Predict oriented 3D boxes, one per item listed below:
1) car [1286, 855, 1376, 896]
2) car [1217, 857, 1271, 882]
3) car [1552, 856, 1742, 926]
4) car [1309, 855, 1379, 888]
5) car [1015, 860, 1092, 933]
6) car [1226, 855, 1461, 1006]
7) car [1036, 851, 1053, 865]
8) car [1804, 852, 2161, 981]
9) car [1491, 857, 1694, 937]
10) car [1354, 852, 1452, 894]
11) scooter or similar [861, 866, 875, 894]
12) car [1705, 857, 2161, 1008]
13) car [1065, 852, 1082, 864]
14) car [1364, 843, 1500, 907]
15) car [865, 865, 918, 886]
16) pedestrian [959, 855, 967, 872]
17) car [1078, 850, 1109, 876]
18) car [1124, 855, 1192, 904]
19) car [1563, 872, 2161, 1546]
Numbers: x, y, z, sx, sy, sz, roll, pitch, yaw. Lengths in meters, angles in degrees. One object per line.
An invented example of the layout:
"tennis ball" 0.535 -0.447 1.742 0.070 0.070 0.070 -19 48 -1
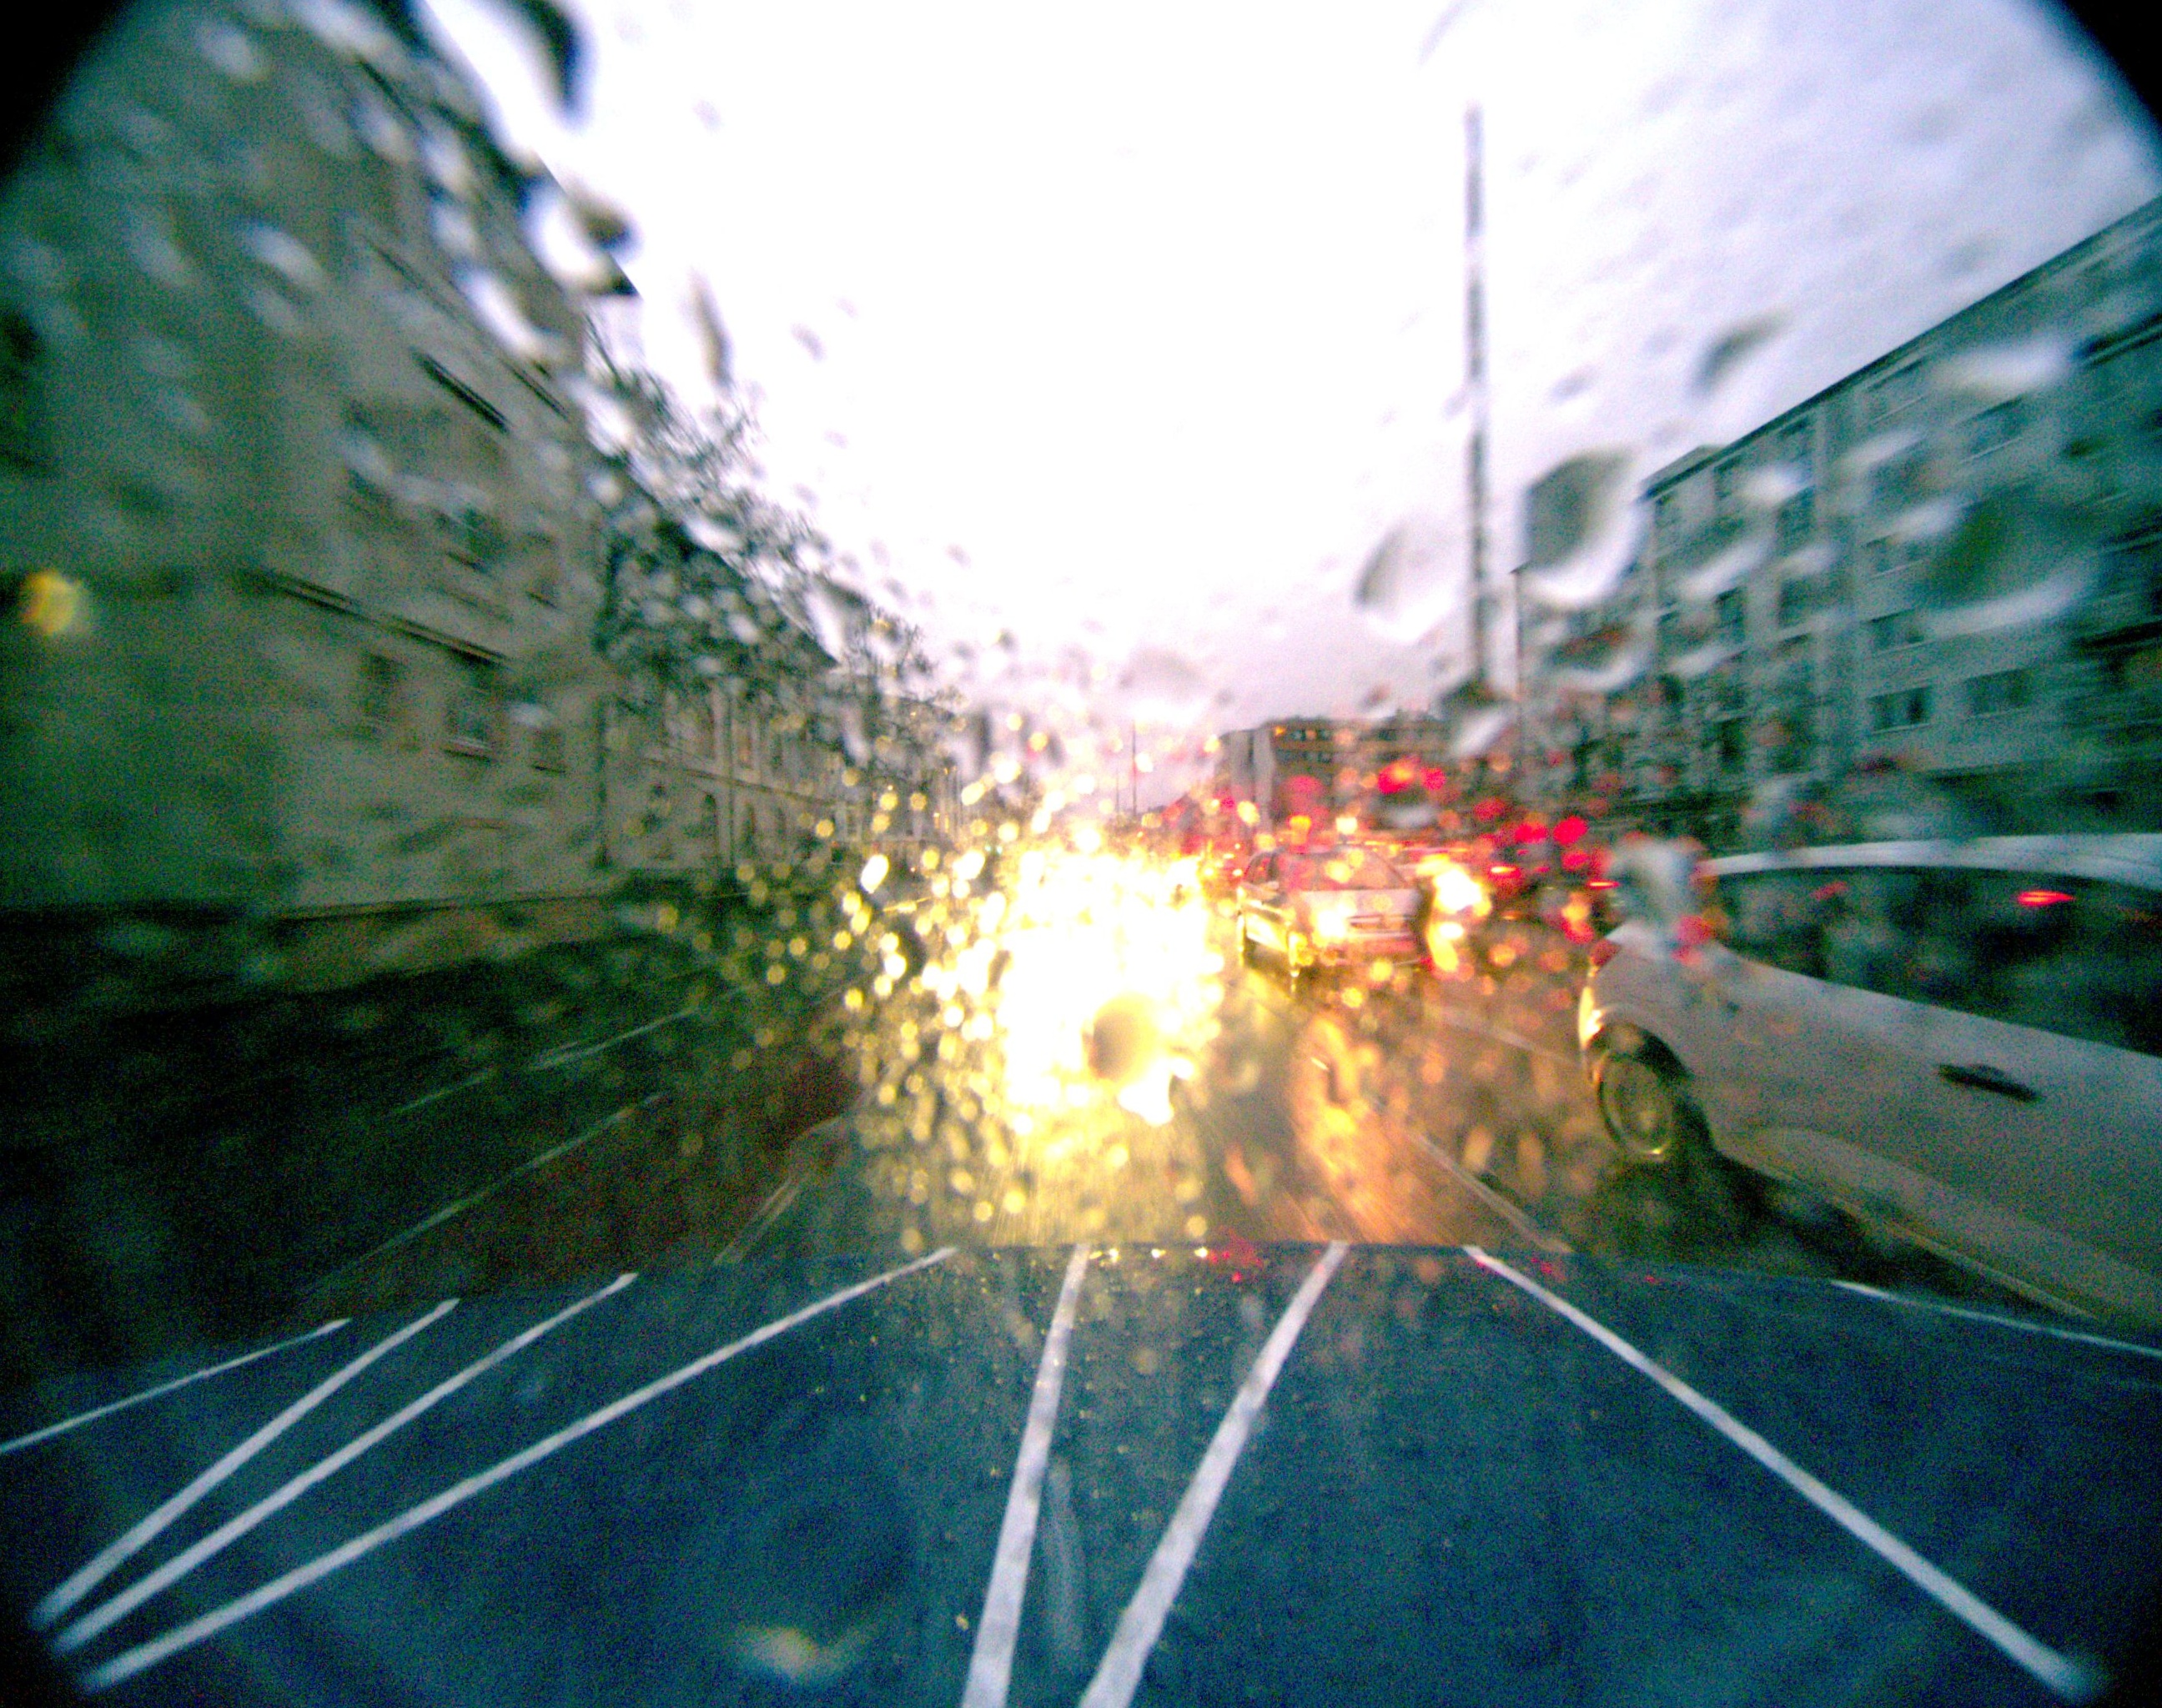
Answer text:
"car" 9.929 0.823 30.551 1.968 1.505 4.533 -1 0 -3
"car" 9.355 0.873 43.961 1.968 1.378 4.533 -1 0 -3
"car" 13.469 0.814 18.416 1.649 1.478 4.000 -1 0 1
"car" 13.106 0.832 38.100 1.898 1.559 4.193 -1 0 -3
"car" -0.615 1.010 19.636 1.649 1.575 3.805 -2 0 2
"car" 3.180 0.812 10.119 1.649 1.539 4.109 -2 0 -1
"car" -4.634 0.567 97.419 1.999 1.686 3.999 -2 0 -2
"car" 13.703 0.774 11.416 1.649 1.557 4.280 -1 0 1
"car" 10.642 0.824 16.197 1.649 1.478 4.000 -1 0 1
"car" 13.252 0.752 31.595 1.968 1.630 4.533 -1 0 -3
"scooter or similar" -9.351 1.112 33.325 0.442 1.196 1.080 -2 0 -10
"car" 10.370 0.788 9.560 1.649 1.478 4.144 -1 0 1
"car" -1.014 0.527 97.201 1.999 1.526 3.999 -2 0 -2
"car" 10.640 0.602 23.445 1.968 1.772 4.533 -1 0 -2
"car" -17.220 1.968 69.323 4.567 1.708 1.725 -2 0 -10
"pedestrian" -11.230 0.882 72.208 0.656 1.579 0.562 -2 0 -10
"car" 0.813 0.607 52.350 1.820 1.732 4.184 0 0 -4
"car" 2.562 0.828 26.174 1.753 1.535 3.999 0 0 -3
"car" 3.267 0.827 1.823 1.630 1.478 4.000 -1 0 -1
